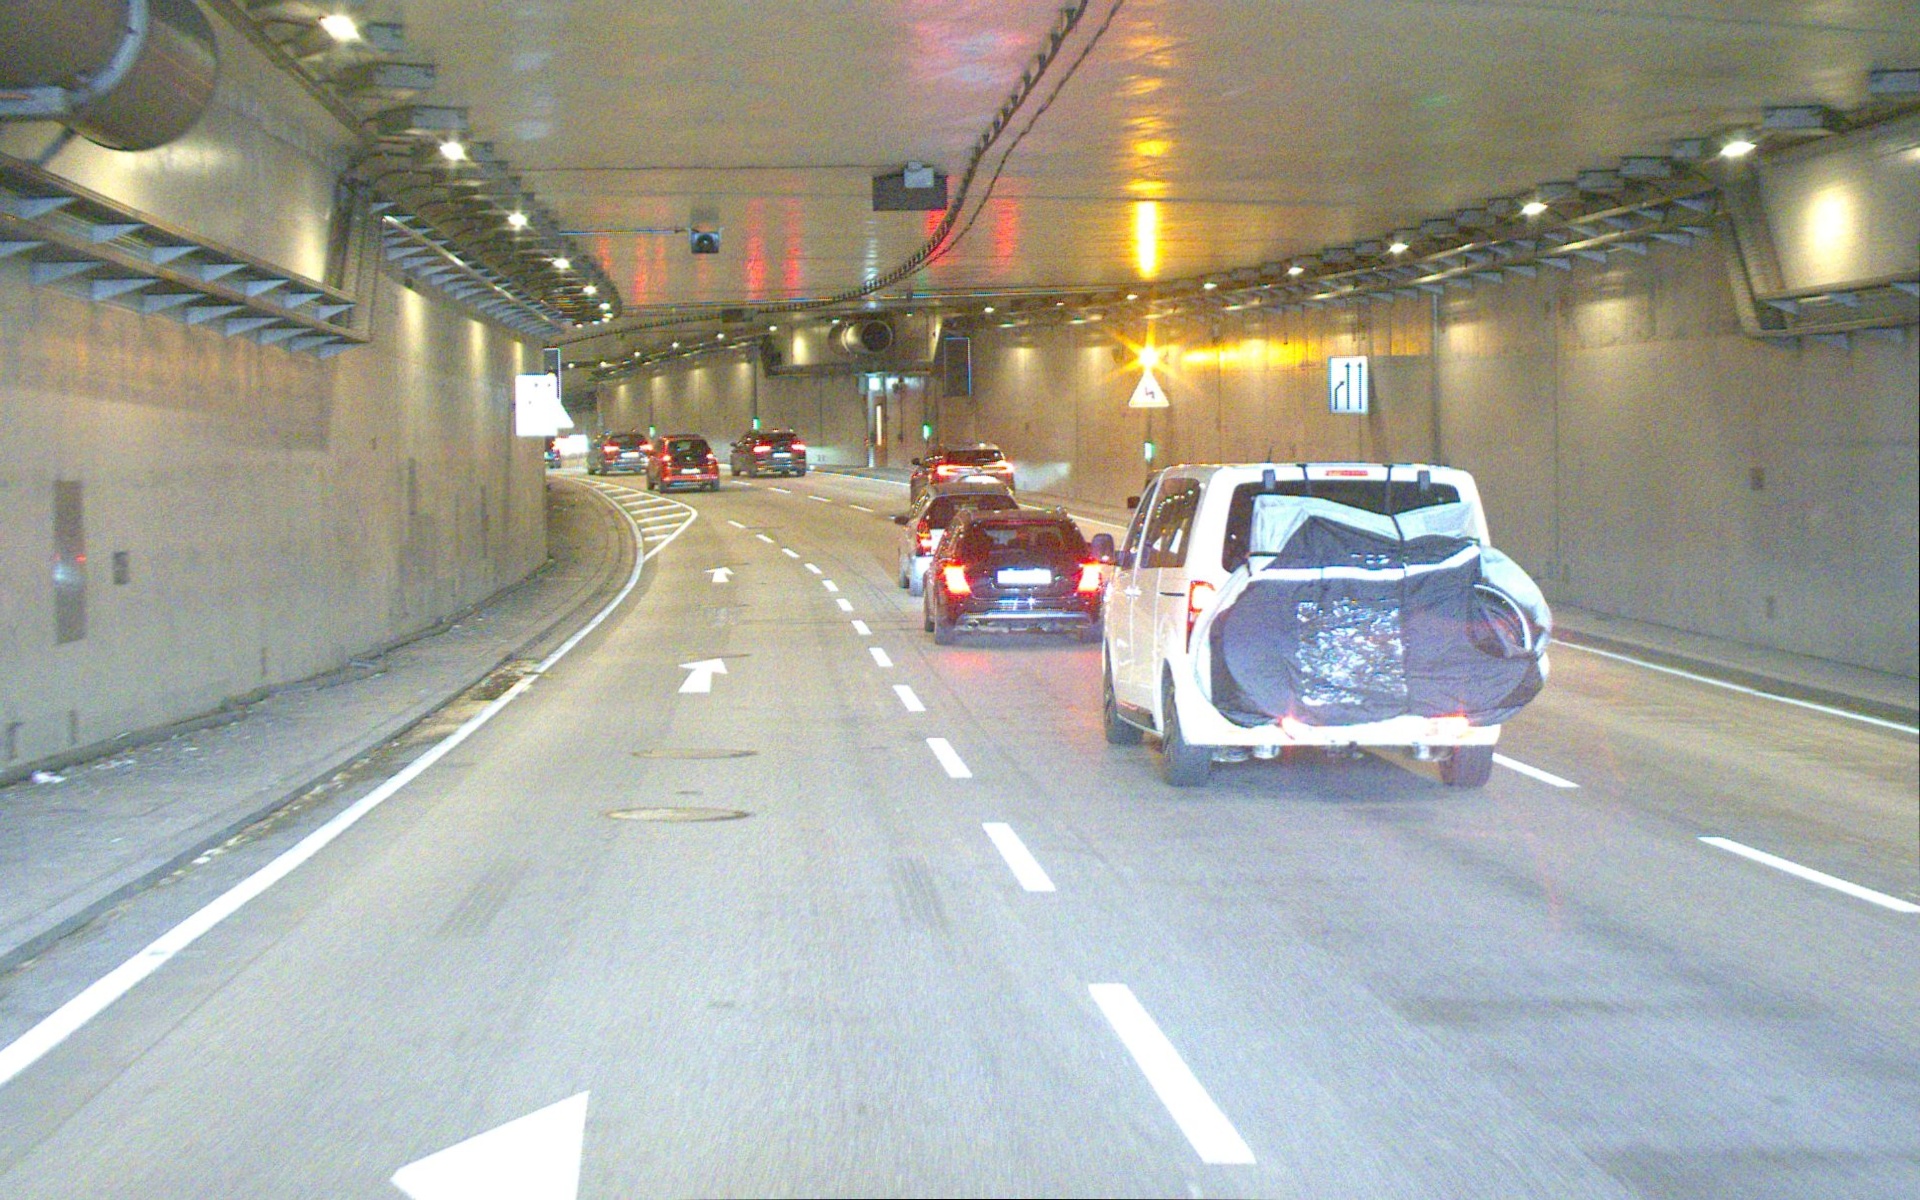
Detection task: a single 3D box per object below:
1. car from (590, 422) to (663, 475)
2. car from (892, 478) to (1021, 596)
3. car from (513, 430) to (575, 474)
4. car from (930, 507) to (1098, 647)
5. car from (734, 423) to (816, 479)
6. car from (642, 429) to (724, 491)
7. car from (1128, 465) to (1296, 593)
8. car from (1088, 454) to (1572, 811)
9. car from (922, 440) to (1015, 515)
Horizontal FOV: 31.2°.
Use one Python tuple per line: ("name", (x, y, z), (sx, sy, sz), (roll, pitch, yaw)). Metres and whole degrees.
("car", (-10.837, -4.893, 111.460), (1.822, 1.624, 3.845), (0, 1, -13))
("car", (-0.079, -0.919, 48.830), (1.602, 1.588, 3.356), (1, 2, -4))
("car", (-16.189, -5.740, 133.738), (1.822, 1.624, 3.845), (0, 1, -16))
("car", (0.528, -0.274, 36.325), (1.602, 1.390, 3.278), (0, 2, -2))
("car", (-5.592, -4.468, 103.499), (1.822, 1.624, 3.845), (0, 1, -13))
("car", (-7.652, -3.845, 94.828), (1.822, 1.624, 3.845), (0, 1, -11))
("car", (3.597, -1.018, 49.719), (1.872, 1.755, 4.001), (1, 1, -4))
("car", (2.030, 0.110, 20.553), (1.993, 1.841, 5.302), (1, 1, -4))
("car", (0.176, -2.720, 76.752), (1.602, 1.624, 3.357), (0, 1, -8))
